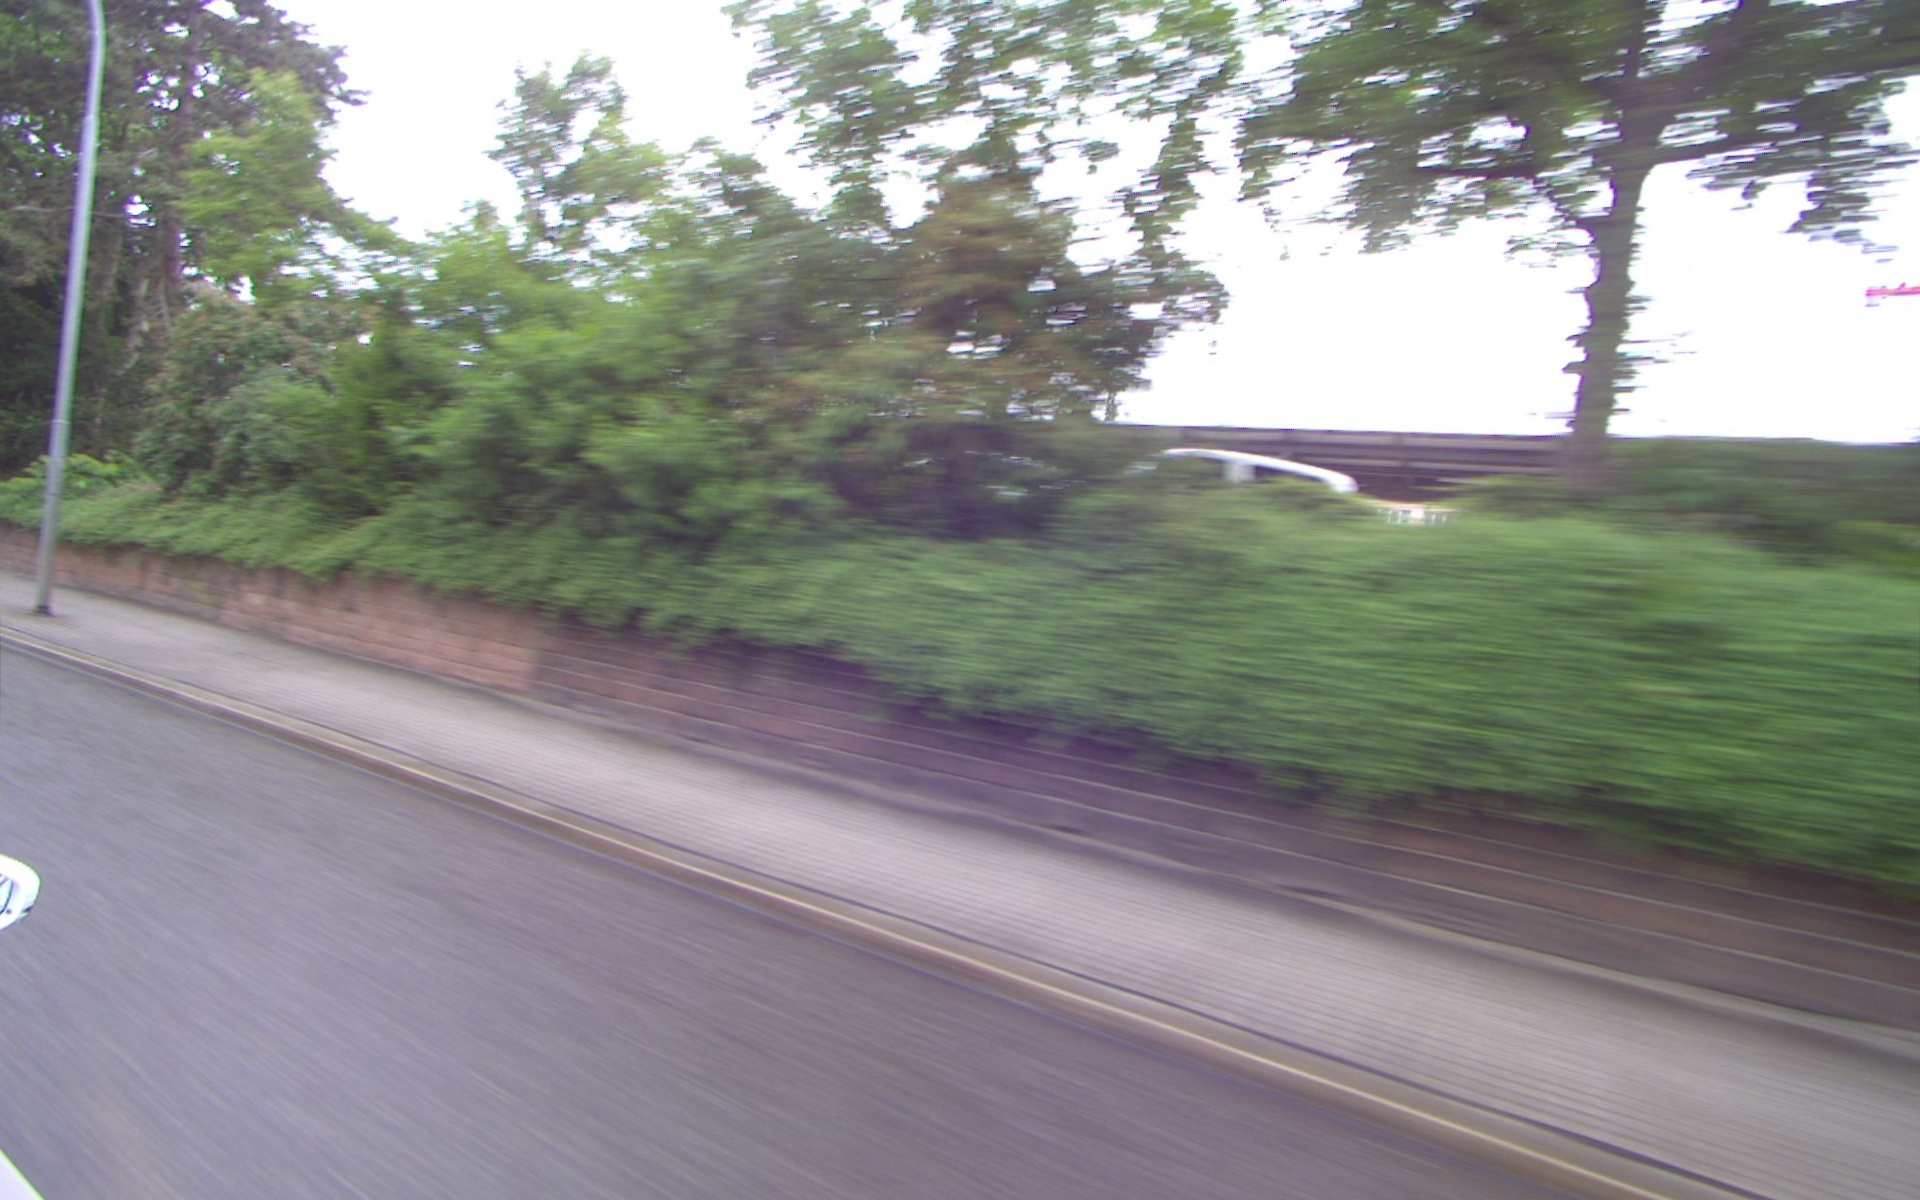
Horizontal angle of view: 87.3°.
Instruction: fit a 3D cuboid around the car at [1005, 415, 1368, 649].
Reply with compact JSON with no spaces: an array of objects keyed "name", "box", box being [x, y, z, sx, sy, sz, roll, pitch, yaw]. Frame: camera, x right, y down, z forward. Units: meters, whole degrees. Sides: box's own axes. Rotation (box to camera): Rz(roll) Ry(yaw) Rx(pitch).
[{"name":"car","box":[2.892,-0.776,13.119,3.941,2.246,1.993,8,0,-17]}]
